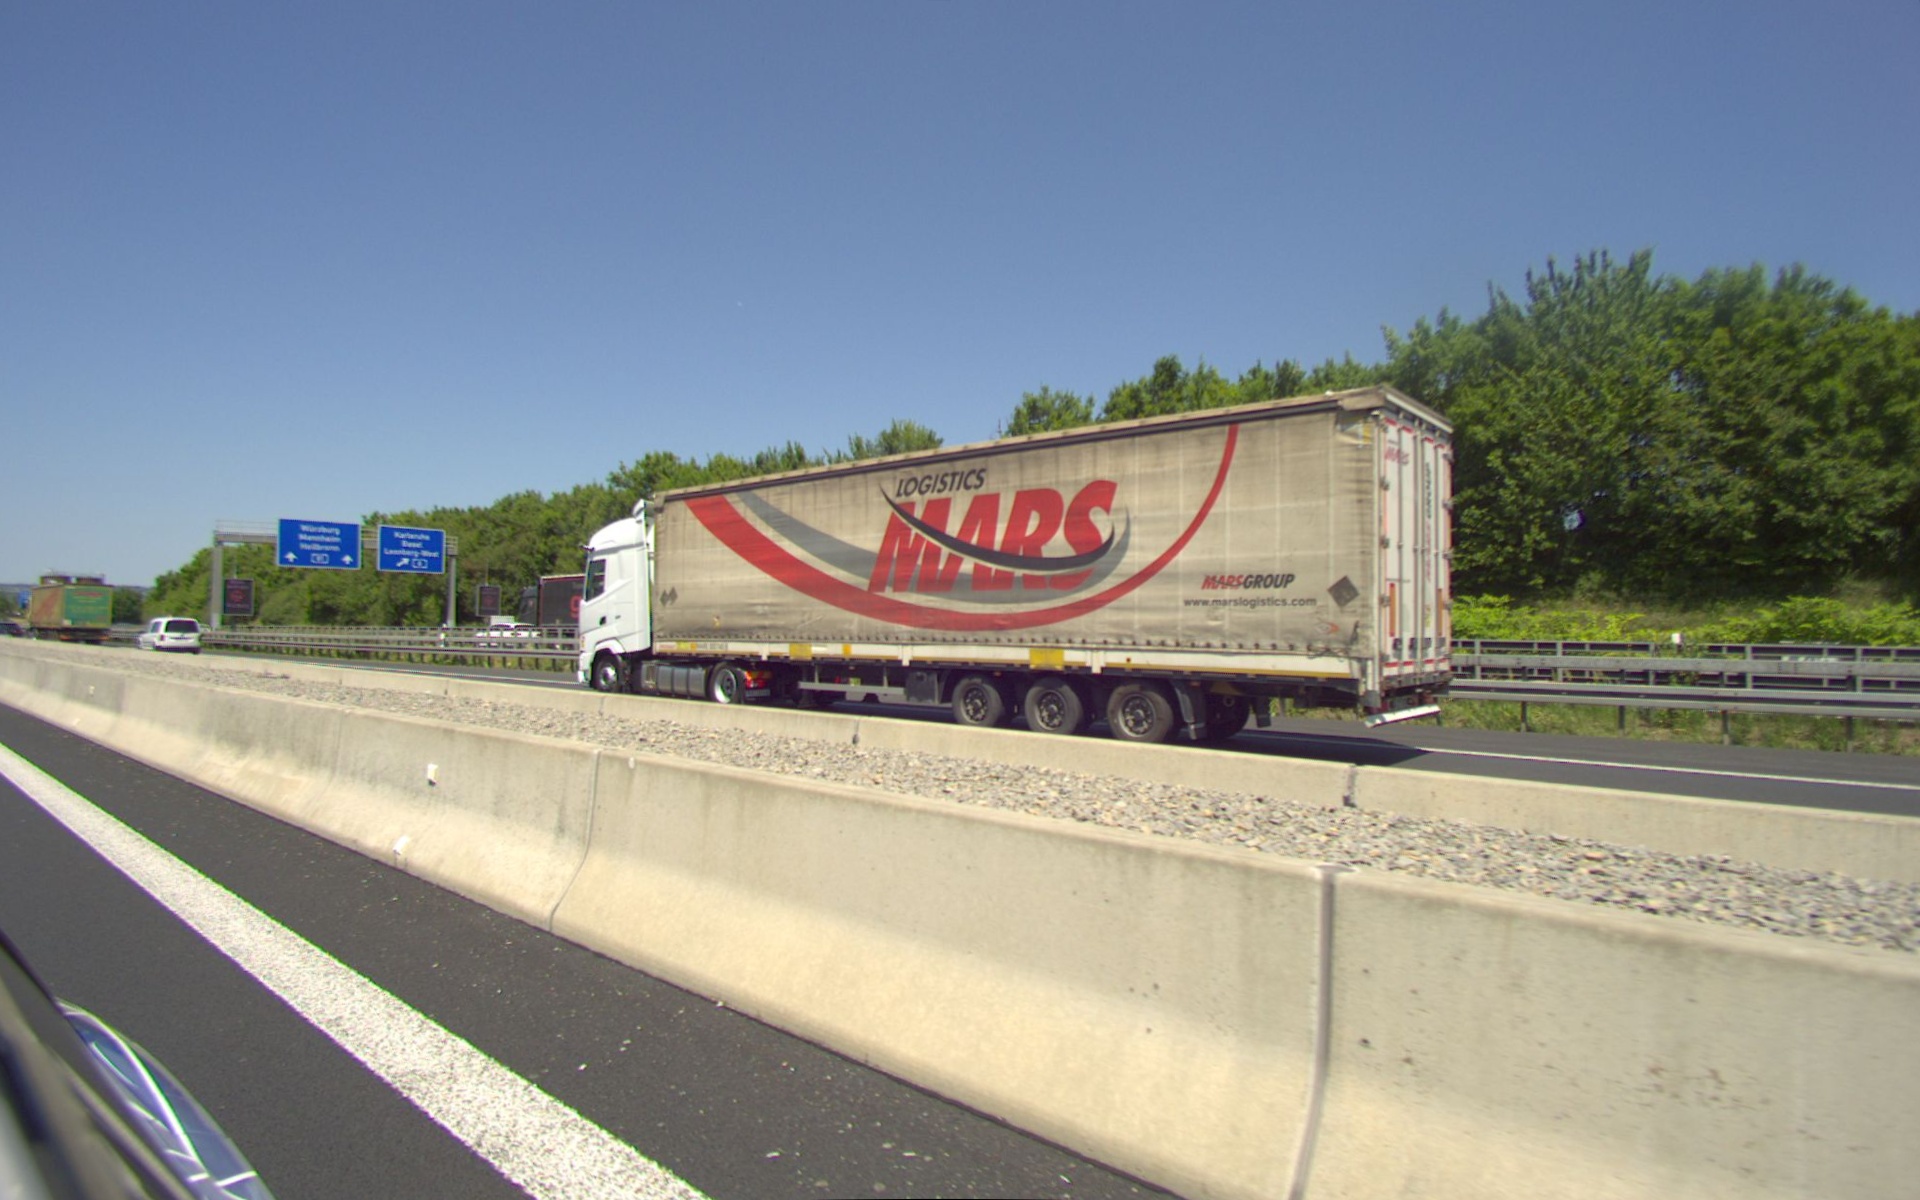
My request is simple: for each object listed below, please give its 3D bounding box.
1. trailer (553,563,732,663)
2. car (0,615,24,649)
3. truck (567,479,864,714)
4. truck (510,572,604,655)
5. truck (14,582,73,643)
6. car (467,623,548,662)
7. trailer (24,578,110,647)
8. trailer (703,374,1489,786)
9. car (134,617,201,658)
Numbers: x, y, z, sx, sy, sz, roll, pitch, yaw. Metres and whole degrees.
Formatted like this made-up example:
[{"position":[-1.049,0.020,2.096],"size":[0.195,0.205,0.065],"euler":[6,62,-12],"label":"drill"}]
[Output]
[{"position":[-15.872,0.620,49.798],"size":[11.649,4.467,2.765],"euler":[-1,0,42],"label":"trailer"},{"position":[-55.327,1.819,57.925],"size":[4.822,1.840,1.964],"euler":[-1,0,40],"label":"car"},{"position":[-5.010,-0.040,20.225],"size":[5.895,4.003,2.898],"euler":[-1,0,41],"label":"truck"},{"position":[-22.015,0.724,55.264],"size":[4.995,4.304,2.781],"euler":[-1,0,41],"label":"truck"},{"position":[-67.918,0.901,74.956],"size":[4.550,4.320,2.678],"euler":[-1,0,40],"label":"truck"},{"position":[-22.766,2.120,50.841],"size":[4.536,1.871,1.973],"euler":[-1,-2,41],"label":"car"},{"position":[-61.005,0.815,68.956],"size":[13.807,4.305,2.639],"euler":[-1,0,41],"label":"trailer"},{"position":[0.894,-0.150,15.093],"size":[12.058,4.076,2.879],"euler":[-1,0,41],"label":"trailer"},{"position":[-38.148,1.736,48.653],"size":[4.902,1.840,1.723],"euler":[-1,0,42],"label":"car"}]
